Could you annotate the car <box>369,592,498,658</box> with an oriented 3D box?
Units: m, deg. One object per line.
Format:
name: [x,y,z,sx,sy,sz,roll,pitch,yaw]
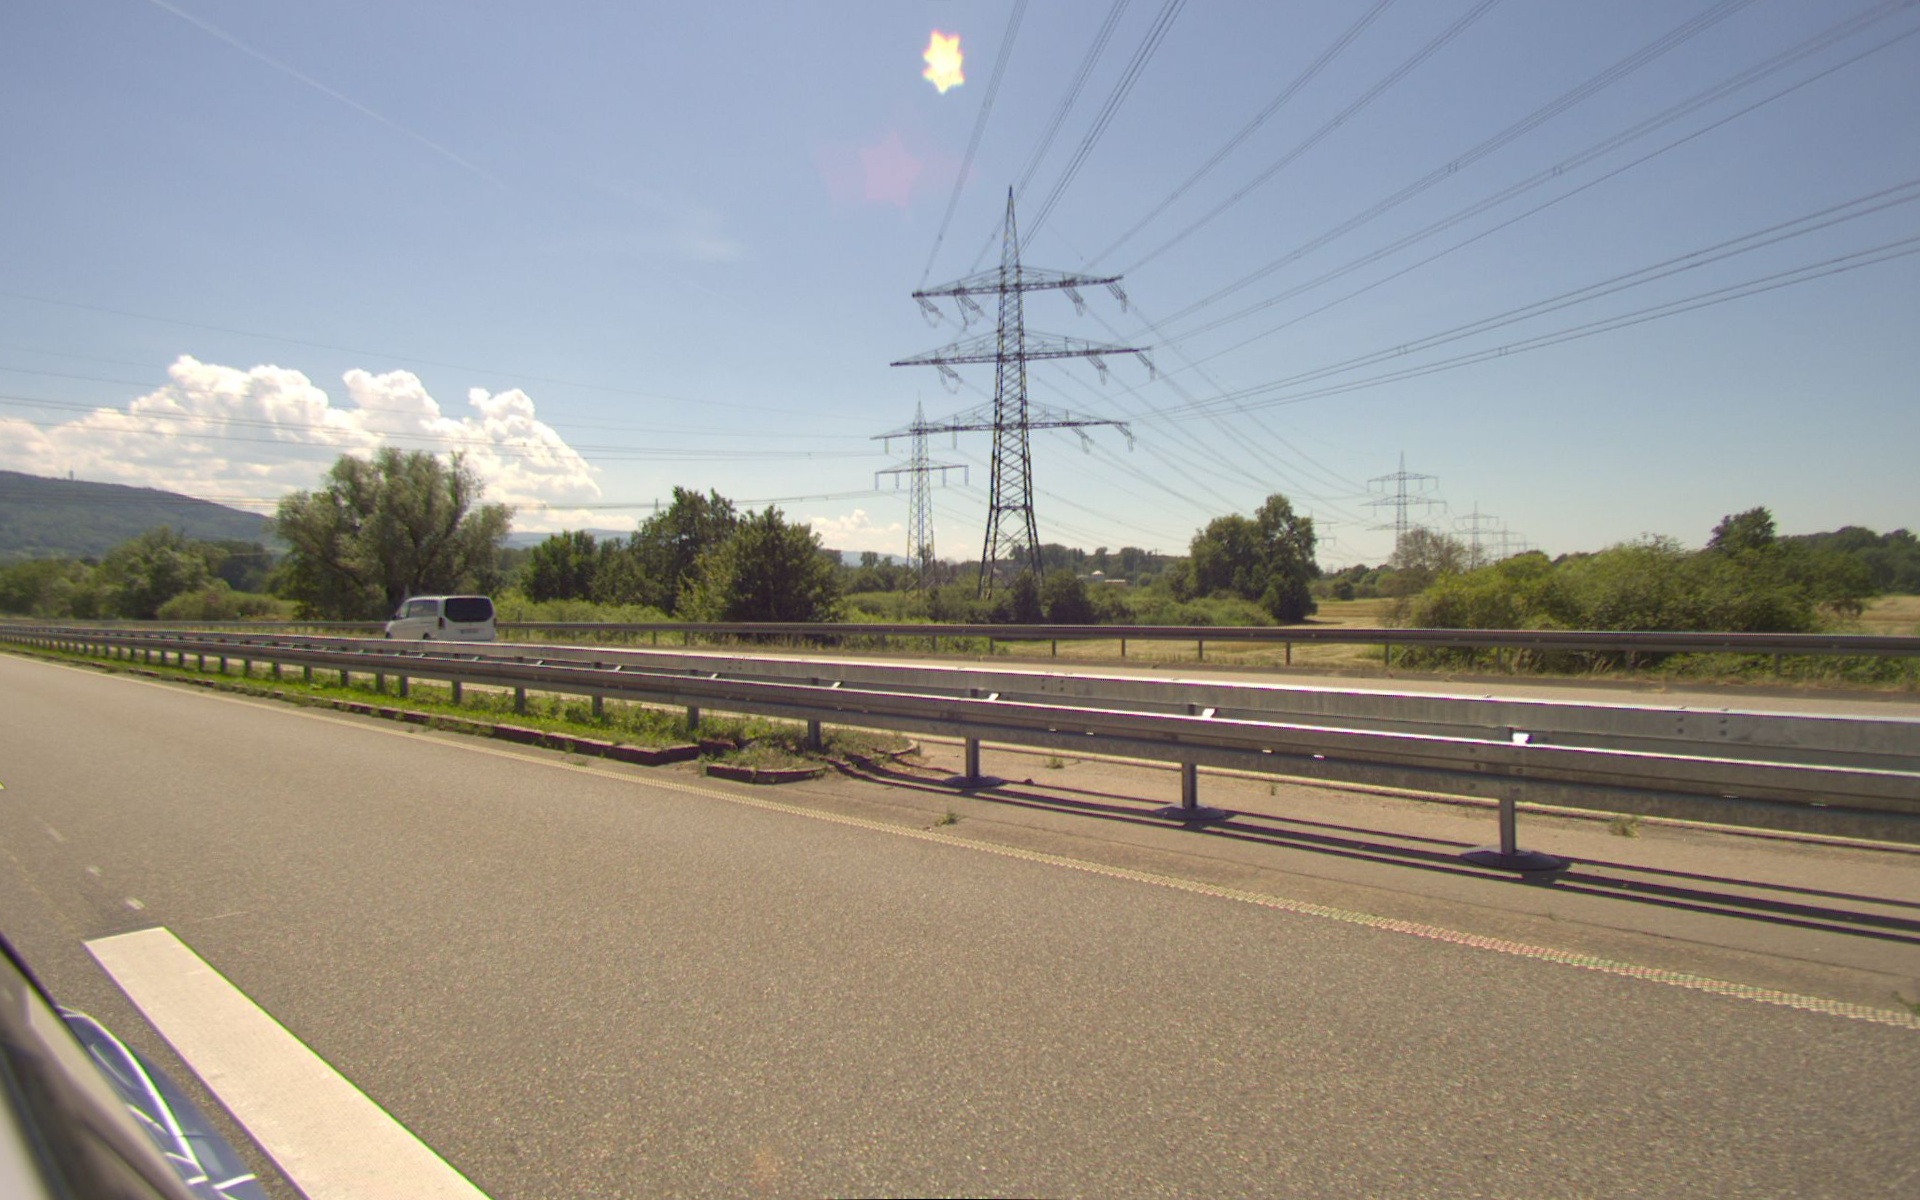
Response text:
car: [-17.380,0.808,33.291,5.529,2.007,1.871,-1,-1,41]
